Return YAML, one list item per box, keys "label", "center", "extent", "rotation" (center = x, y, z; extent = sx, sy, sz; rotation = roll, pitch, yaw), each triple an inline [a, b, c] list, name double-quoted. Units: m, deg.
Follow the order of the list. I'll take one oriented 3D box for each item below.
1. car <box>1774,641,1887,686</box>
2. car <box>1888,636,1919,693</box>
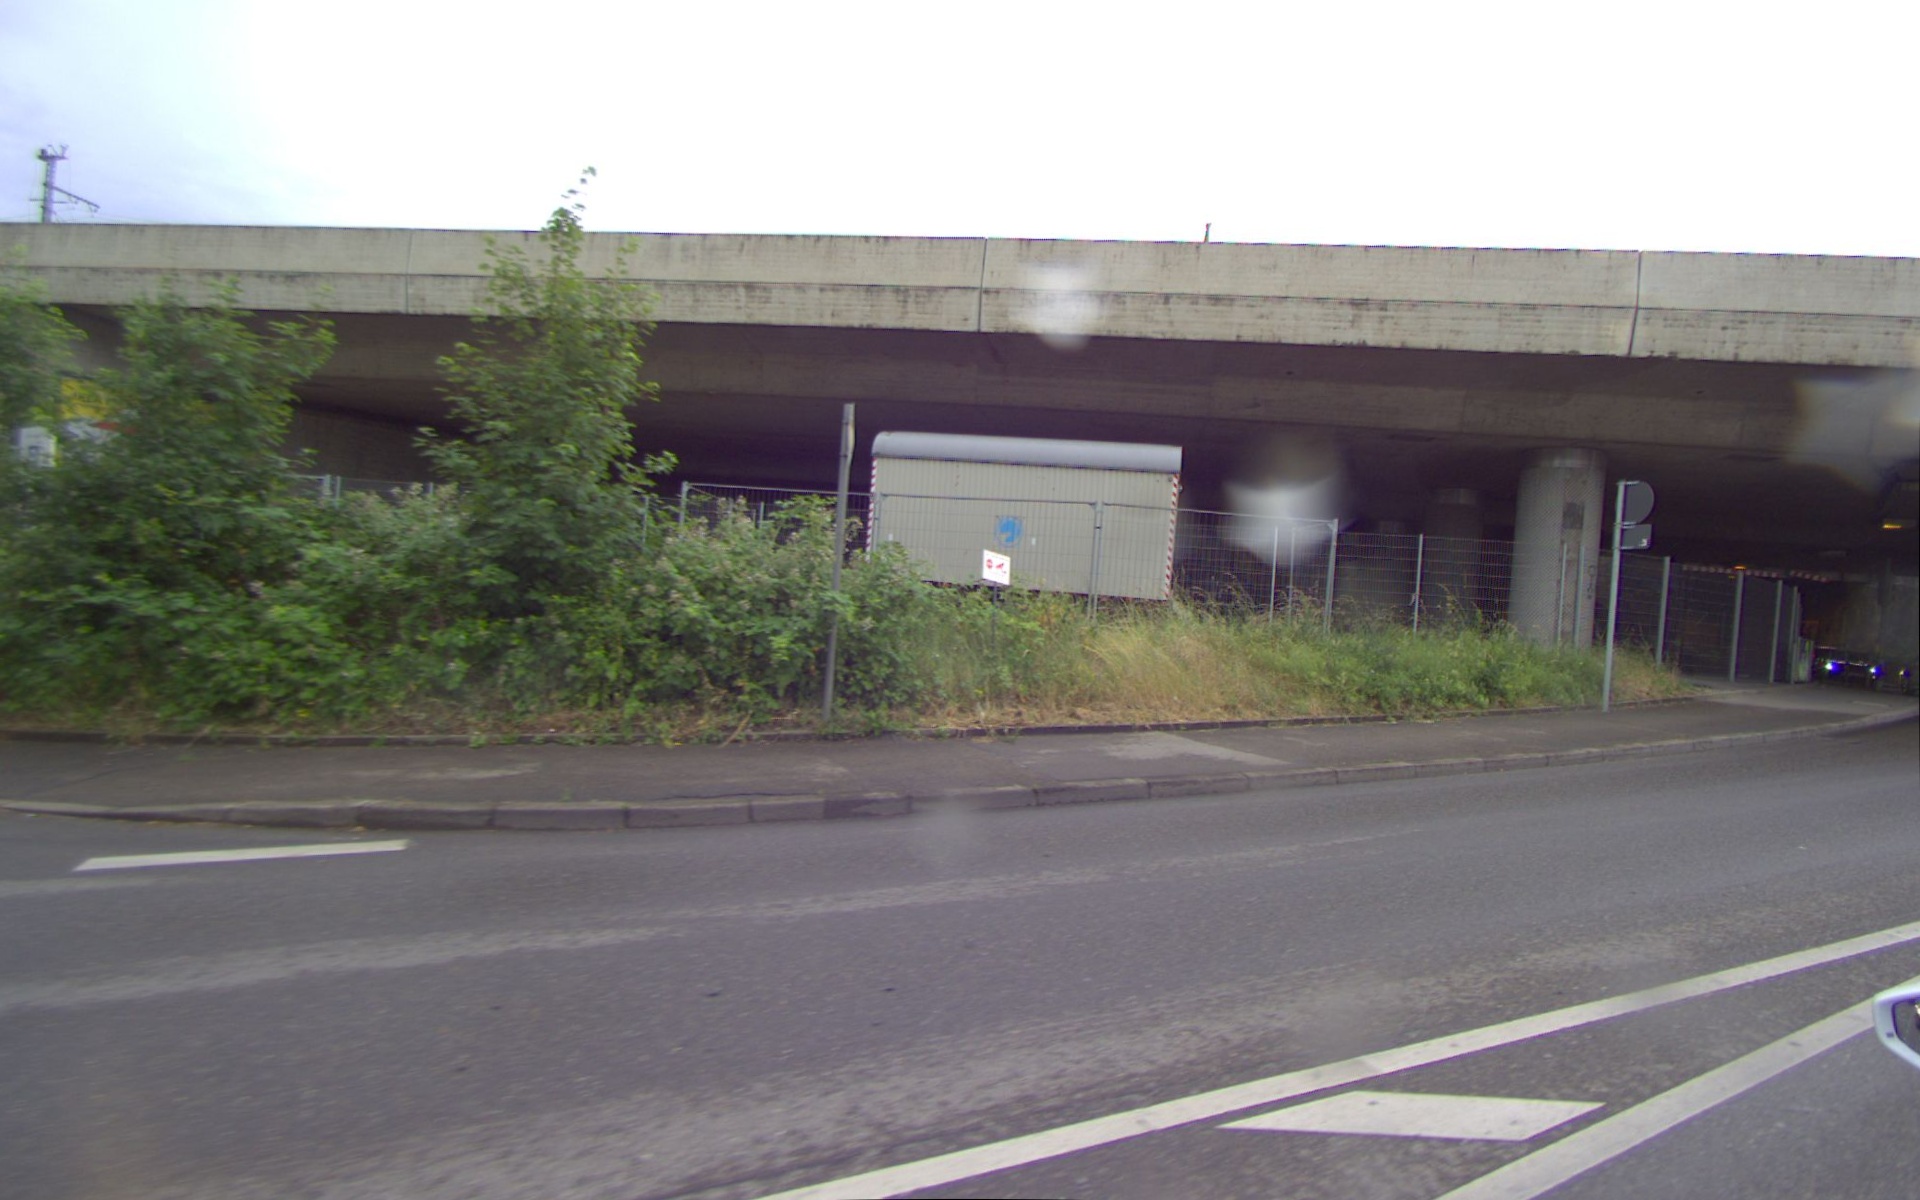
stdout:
- label: "car"
  center: [32.677, 2.351, 37.865]
  extent: [1.961, 1.484, 4.105]
  rotation: [3, -1, 22]
- label: "car"
  center: [28.761, 1.938, 28.890]
  extent: [1.964, 1.550, 4.491]
  rotation: [3, 2, 30]
